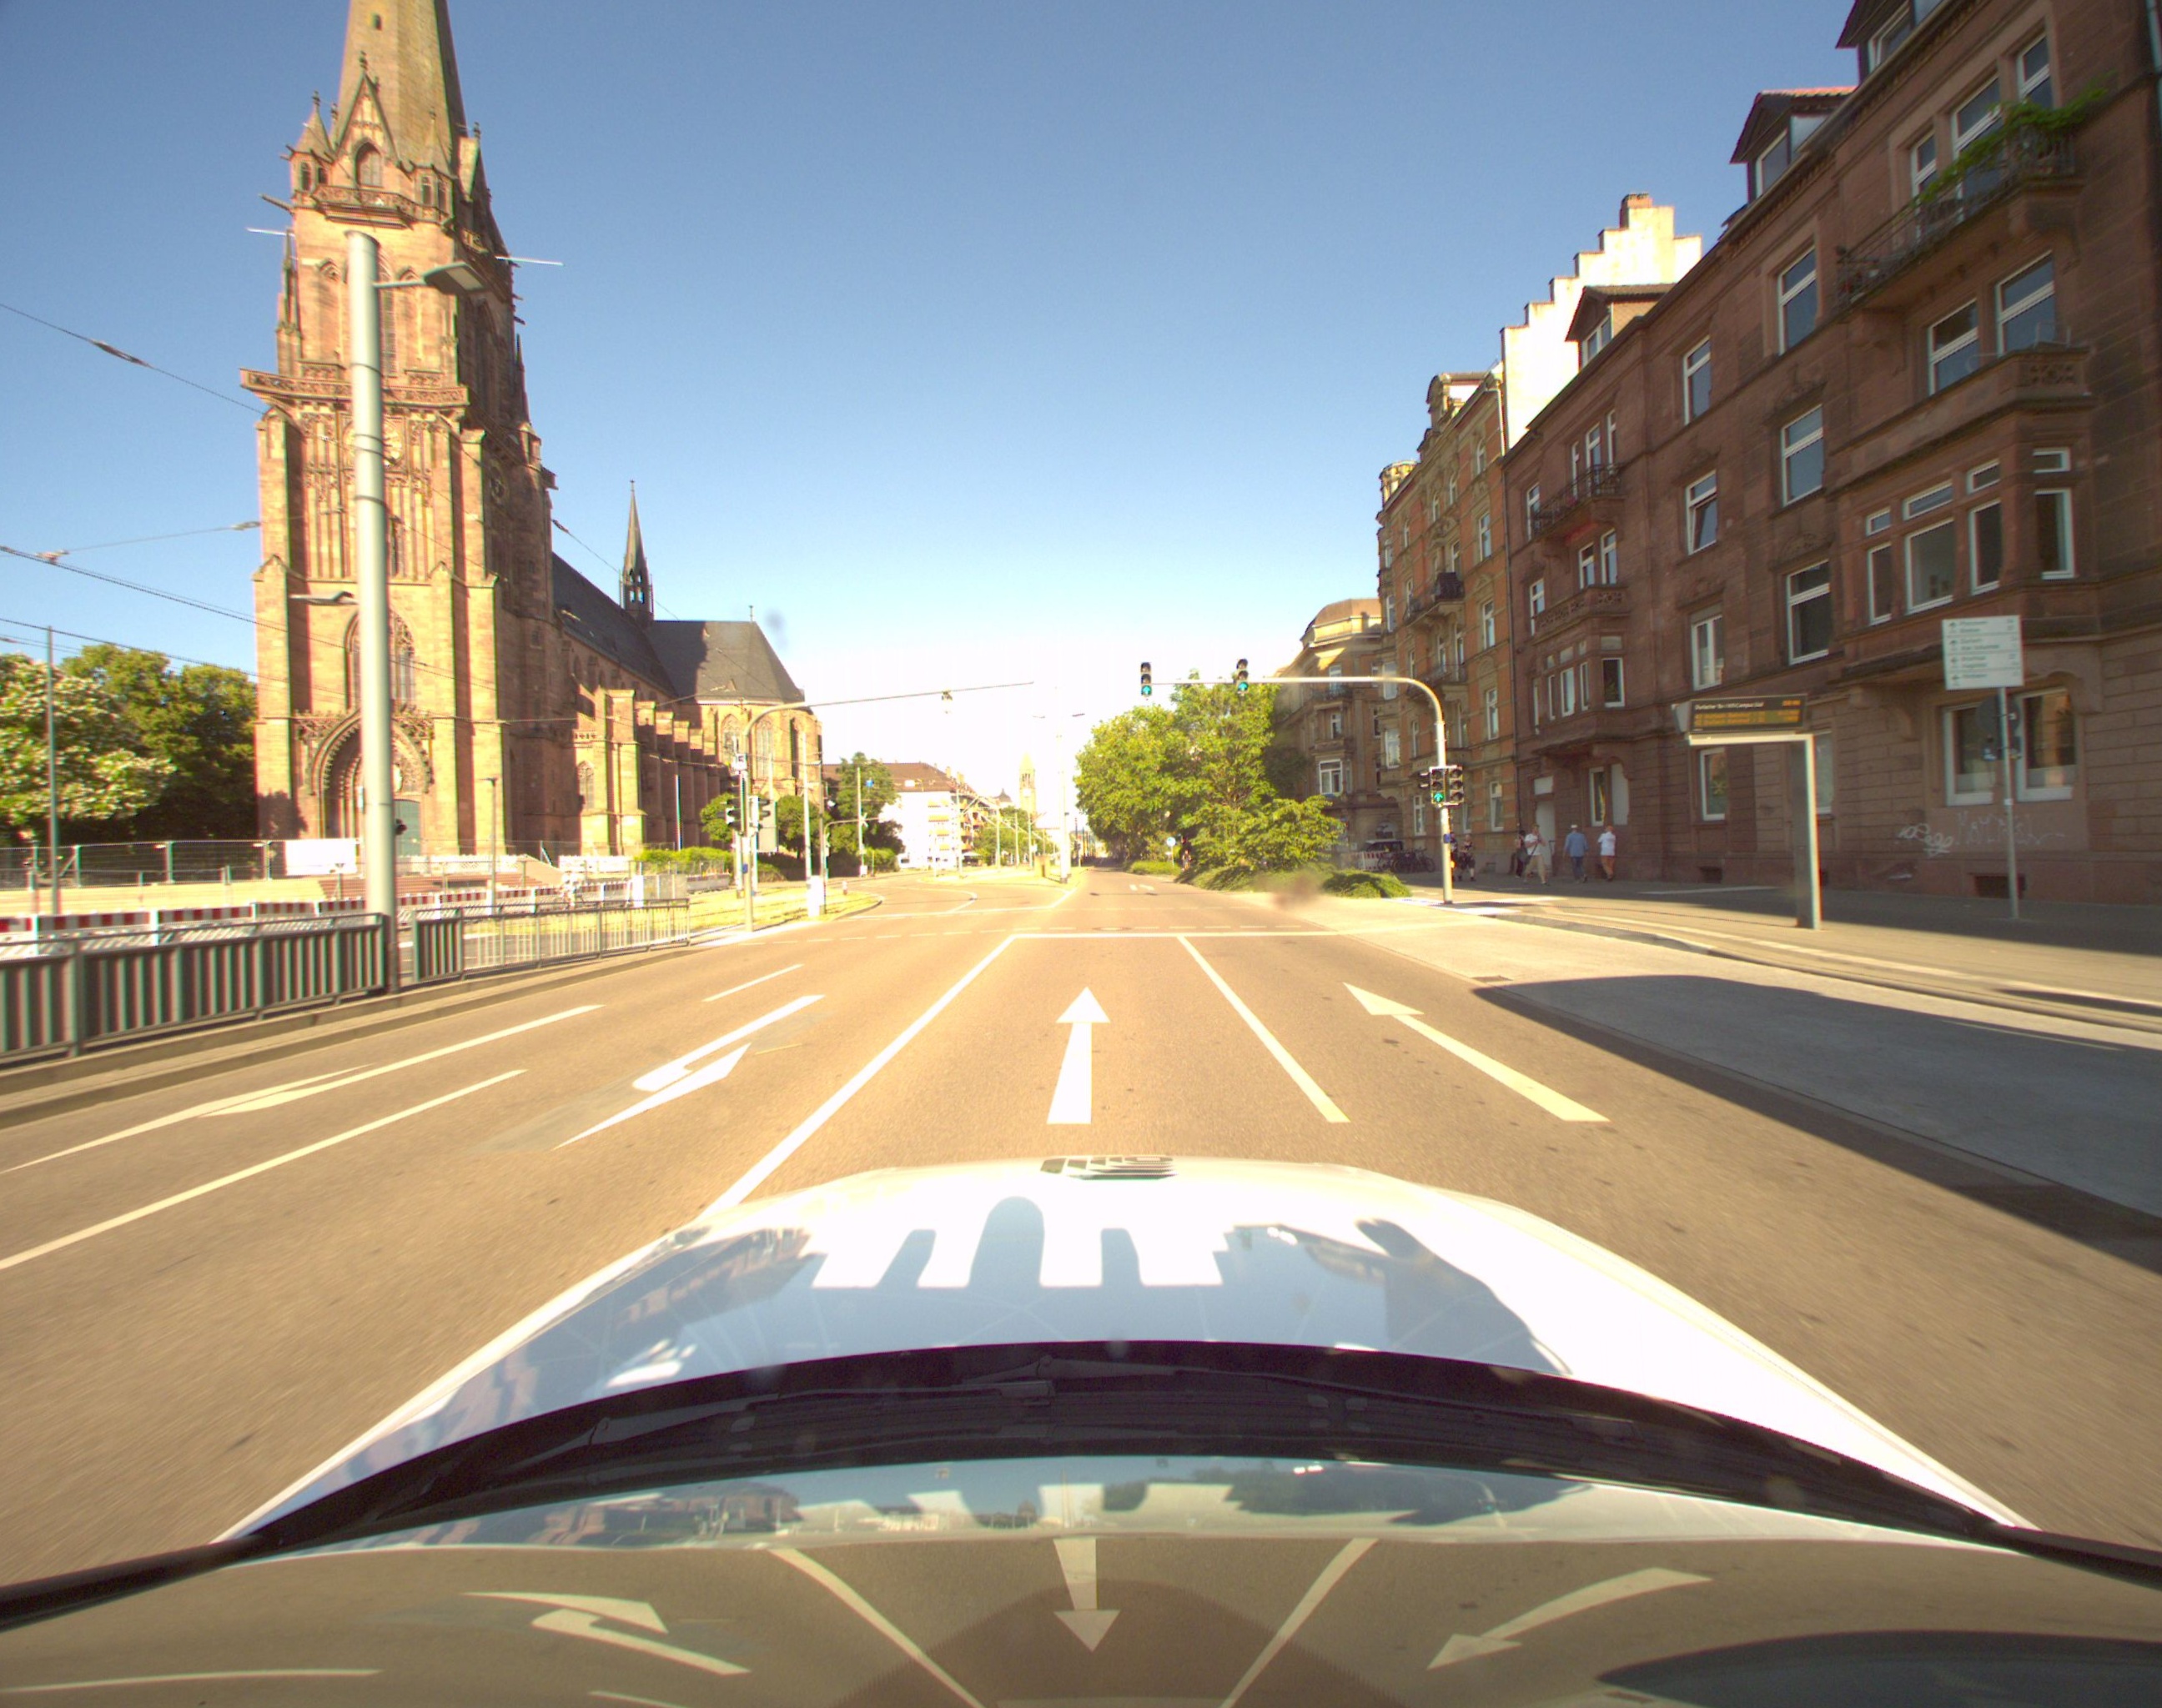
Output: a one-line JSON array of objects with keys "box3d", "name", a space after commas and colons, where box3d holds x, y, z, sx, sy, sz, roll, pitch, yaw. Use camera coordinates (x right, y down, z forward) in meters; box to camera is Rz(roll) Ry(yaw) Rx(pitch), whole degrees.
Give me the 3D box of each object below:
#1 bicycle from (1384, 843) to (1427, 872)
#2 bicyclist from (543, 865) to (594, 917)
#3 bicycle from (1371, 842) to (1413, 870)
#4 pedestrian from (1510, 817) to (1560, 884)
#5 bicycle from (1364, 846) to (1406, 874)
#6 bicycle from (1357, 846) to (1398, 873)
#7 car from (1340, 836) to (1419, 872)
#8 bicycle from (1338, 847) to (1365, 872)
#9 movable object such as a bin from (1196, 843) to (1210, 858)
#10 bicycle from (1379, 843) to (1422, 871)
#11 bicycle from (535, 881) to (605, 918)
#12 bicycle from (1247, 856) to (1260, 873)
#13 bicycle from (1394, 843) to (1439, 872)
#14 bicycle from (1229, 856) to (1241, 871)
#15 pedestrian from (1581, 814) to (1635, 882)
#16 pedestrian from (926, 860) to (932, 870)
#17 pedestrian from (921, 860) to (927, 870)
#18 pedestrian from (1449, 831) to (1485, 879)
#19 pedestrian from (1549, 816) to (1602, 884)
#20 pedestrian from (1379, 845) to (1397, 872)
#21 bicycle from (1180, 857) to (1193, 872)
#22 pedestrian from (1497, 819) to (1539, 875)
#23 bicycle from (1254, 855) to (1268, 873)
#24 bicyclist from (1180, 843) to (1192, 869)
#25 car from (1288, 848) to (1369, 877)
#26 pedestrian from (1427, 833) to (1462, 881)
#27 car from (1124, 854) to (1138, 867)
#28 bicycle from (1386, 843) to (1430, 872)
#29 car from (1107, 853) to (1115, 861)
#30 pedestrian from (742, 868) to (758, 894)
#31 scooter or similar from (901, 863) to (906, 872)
[{"box3d": [15.392, 0.169, 38.649, 1.884, 1.239, 0.488, -3, -2, -11], "name": "bicycle"}, {"box3d": [-19.325, 1.374, 30.738, 0.961, 1.808, 1.317, -5, 2, -6], "name": "bicyclist"}, {"box3d": [15.179, 0.114, 39.717, 1.884, 1.239, 0.488, -3, -2, -11], "name": "bicycle"}, {"box3d": [13.584, -0.110, 24.397, 0.819, 1.930, 1.137, -2, 0, 1], "name": "pedestrian"}, {"box3d": [15.025, 0.305, 40.266, 1.884, 1.239, 0.488, -3, -2, -11], "name": "bicycle"}, {"box3d": [14.897, 0.285, 40.854, 1.884, 1.239, 0.488, -3, -2, -11], "name": "bicycle"}, {"box3d": [19.558, -0.007, 53.438, 4.562, 2.124, 1.775, -2, 2, -1], "name": "car"}, {"box3d": [13.923, 0.290, 41.973, 0.488, 1.239, 1.884, -3, -2, -7], "name": "bicycle"}, {"box3d": [12.580, -0.354, 83.820, 1.228, 1.382, 1.257, -3, 0, 1], "name": "movable object such as a bin"}, {"box3d": [15.377, 0.142, 39.238, 1.884, 1.239, 0.488, -3, -2, -11], "name": "bicycle"}, {"box3d": [-19.303, 1.702, 30.861, 0.961, 1.096, 2.819, -5, 2, -5], "name": "bicycle"}, {"box3d": [11.726, 0.700, 55.334, 0.516, 1.047, 1.821, -3, 2, 1], "name": "bicycle"}, {"box3d": [15.456, 0.171, 37.491, 1.884, 1.239, 0.488, -3, -2, -11], "name": "bicycle"}, {"box3d": [11.264, 0.663, 59.574, 0.523, 0.988, 1.722, -3, 2, 0], "name": "bicycle"}, {"box3d": [15.651, -0.168, 24.209, 0.819, 1.930, 1.137, -2, 0, 1], "name": "pedestrian"}, {"box3d": [-24.310, 1.759, 130.258, 0.587, 1.467, 0.917, -3, 2, 2], "name": "pedestrian"}, {"box3d": [-25.065, 1.748, 130.272, 0.641, 1.598, 0.899, -3, 2, 2], "name": "pedestrian"}, {"box3d": [13.751, 0.048, 29.033, 0.700, 1.656, 1.137, -2, 0, 1], "name": "pedestrian"}, {"box3d": [14.694, -0.115, 24.242, 0.819, 1.930, 1.137, -2, 0, 1], "name": "pedestrian"}, {"box3d": [17.435, 0.263, 46.216, 0.694, 1.534, 0.665, -3, 0, 42], "name": "pedestrian"}, {"box3d": [7.645, 0.750, 59.071, 0.639, 1.048, 2.360, -3, -1, 1], "name": "bicycle"}, {"box3d": [15.385, -0.245, 28.713, 0.819, 1.930, 1.137, -2, 0, 1], "name": "pedestrian"}, {"box3d": [12.235, 0.671, 55.327, 0.516, 1.047, 1.821, -3, 2, 1], "name": "bicycle"}, {"box3d": [7.613, 0.168, 58.980, 0.639, 1.815, 1.052, -3, -1, 1], "name": "bicyclist"}, {"box3d": [14.604, 0.488, 48.163, 4.236, 1.415, 1.814, -3, 2, 1], "name": "car"}, {"box3d": [12.957, 0.091, 29.080, 0.700, 1.656, 1.137, -2, 0, 1], "name": "pedestrian"}, {"box3d": [6.333, 0.813, 102.905, 1.637, 1.511, 4.185, -3, 0, 2], "name": "car"}, {"box3d": [15.258, 0.158, 38.034, 1.884, 1.239, 0.488, -3, -2, -11], "name": "bicycle"}, {"box3d": [7.835, 0.862, 212.525, 1.986, 2.107, 4.002, 0, -1, 2], "name": "car"}, {"box3d": [-24.063, 1.965, 59.265, 0.726, 1.773, 0.863, -3, 2, -2], "name": "pedestrian"}, {"box3d": [-26.519, 1.979, 121.705, 0.400, 1.261, 1.231, -3, 2, 2], "name": "scooter or similar"}]
